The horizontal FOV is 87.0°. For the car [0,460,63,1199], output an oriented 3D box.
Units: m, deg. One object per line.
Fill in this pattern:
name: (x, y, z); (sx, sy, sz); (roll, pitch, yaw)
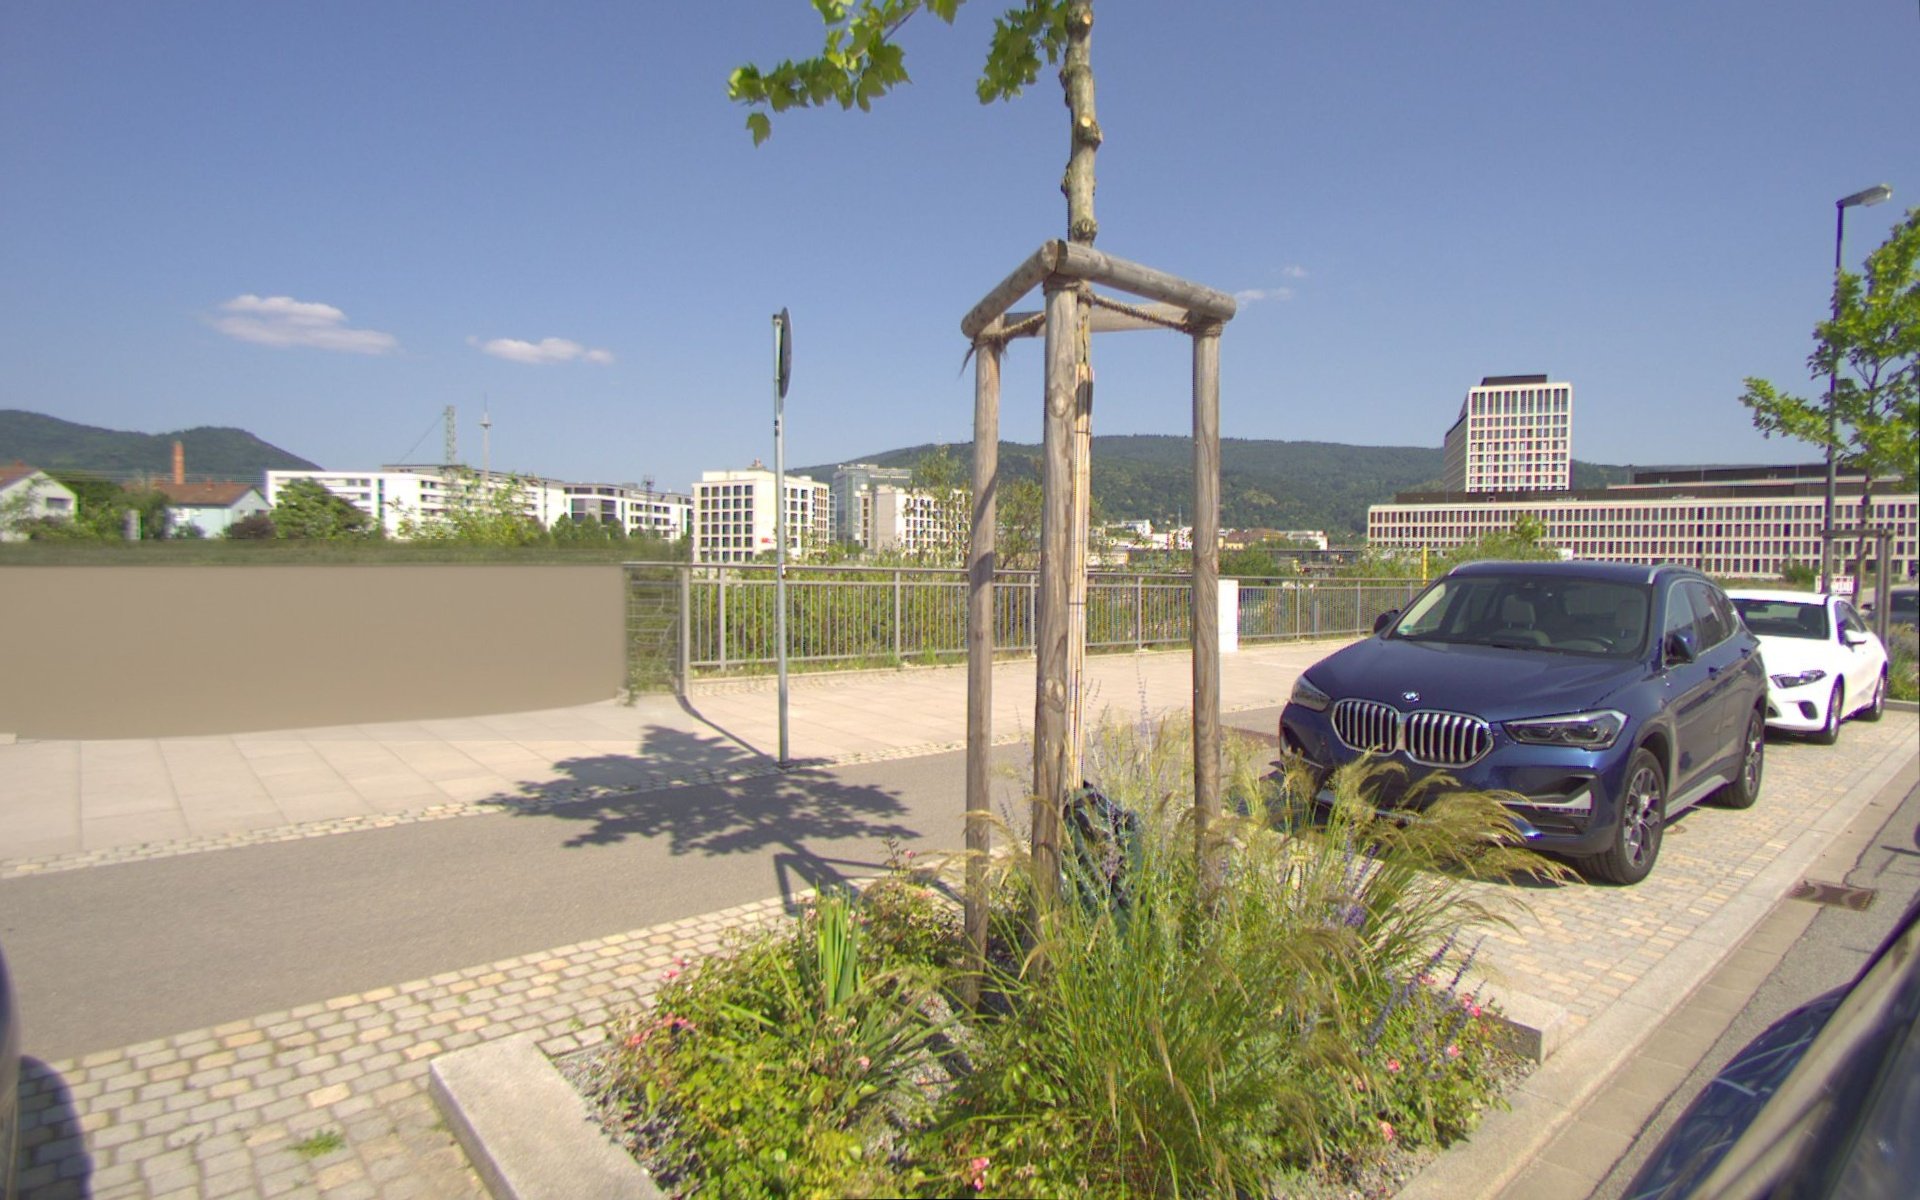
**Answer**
car: (-2.981, 0.547, 0.381); (3.931, 1.443, 1.664); (-1, 4, -42)

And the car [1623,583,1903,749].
car: (8.738, 0.560, 10.897); (3.930, 1.473, 1.663); (-1, 0, -41)

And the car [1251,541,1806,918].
car: (3.793, 0.534, 6.416); (4.164, 1.627, 1.768); (-1, 0, -41)

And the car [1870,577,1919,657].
car: (20.413, 0.313, 21.106); (3.930, 1.558, 1.663); (-1, 0, -41)
